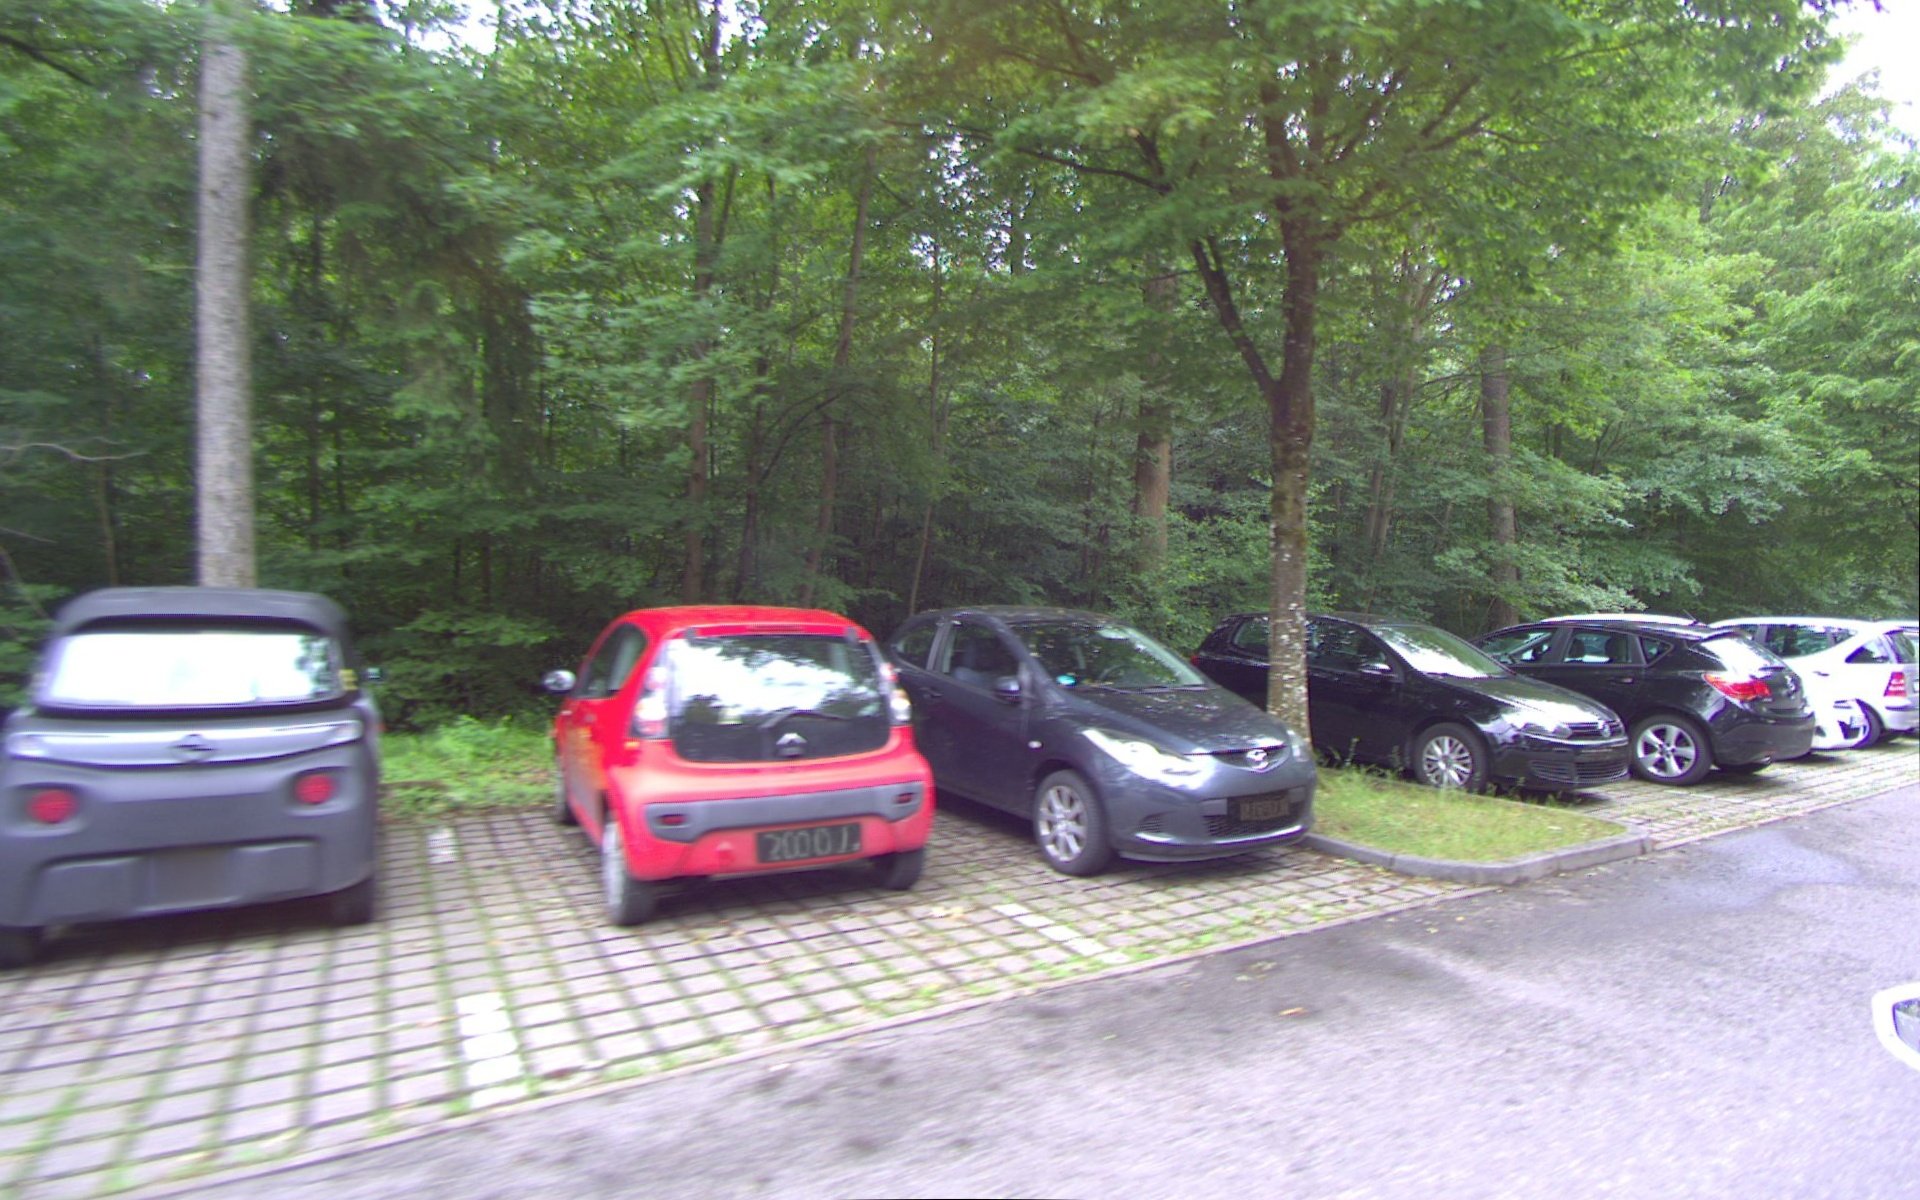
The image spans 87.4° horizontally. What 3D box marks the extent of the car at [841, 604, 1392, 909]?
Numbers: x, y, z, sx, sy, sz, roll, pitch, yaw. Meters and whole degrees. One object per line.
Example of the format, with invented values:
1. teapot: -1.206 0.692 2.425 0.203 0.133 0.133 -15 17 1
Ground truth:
1. car: 0.776 0.792 7.131 1.689 1.511 3.964 1 0 -32

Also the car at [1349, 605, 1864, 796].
1. car: 6.598 0.871 10.760 1.984 1.550 4.210 1 0 -32

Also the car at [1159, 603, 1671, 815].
1. car: 4.012 0.828 9.603 1.701 1.493 4.209 2 0 -32

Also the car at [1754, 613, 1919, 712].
1. car: 16.873 1.080 17.811 1.974 1.649 3.943 1 0 -29

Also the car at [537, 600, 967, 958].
1. car: -1.544 0.767 6.230 1.653 1.494 3.592 1 0 -28

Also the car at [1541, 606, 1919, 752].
1. car: 10.691 0.942 13.884 1.952 1.669 4.202 1 -1 -37

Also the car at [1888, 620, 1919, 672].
1. car: 29.716 1.398 28.855 2.040 1.506 4.231 1 0 -39

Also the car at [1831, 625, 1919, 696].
1. car: 20.681 1.273 20.805 1.855 1.438 3.699 1 -1 -37

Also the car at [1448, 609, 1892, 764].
1. car: 8.605 0.922 12.551 1.745 1.554 4.204 1 -1 -36

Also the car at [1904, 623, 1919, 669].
1. car: 33.401 1.565 32.335 1.880 1.506 4.321 2 -1 -45

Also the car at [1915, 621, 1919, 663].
1. car: 35.490 1.489 34.031 4.514 1.466 2.073 1 0 44

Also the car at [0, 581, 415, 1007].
1. car: -3.688 0.701 5.152 1.429 1.562 2.645 1 1 -32

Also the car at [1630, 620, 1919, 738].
1. car: 12.854 1.086 14.752 2.074 1.497 4.608 1 -1 -35

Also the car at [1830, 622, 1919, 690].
1. car: 22.123 1.270 22.743 1.669 1.501 3.438 1 -1 -38

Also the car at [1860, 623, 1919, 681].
1. car: 25.993 1.377 25.543 2.018 1.443 4.370 1 0 -38
